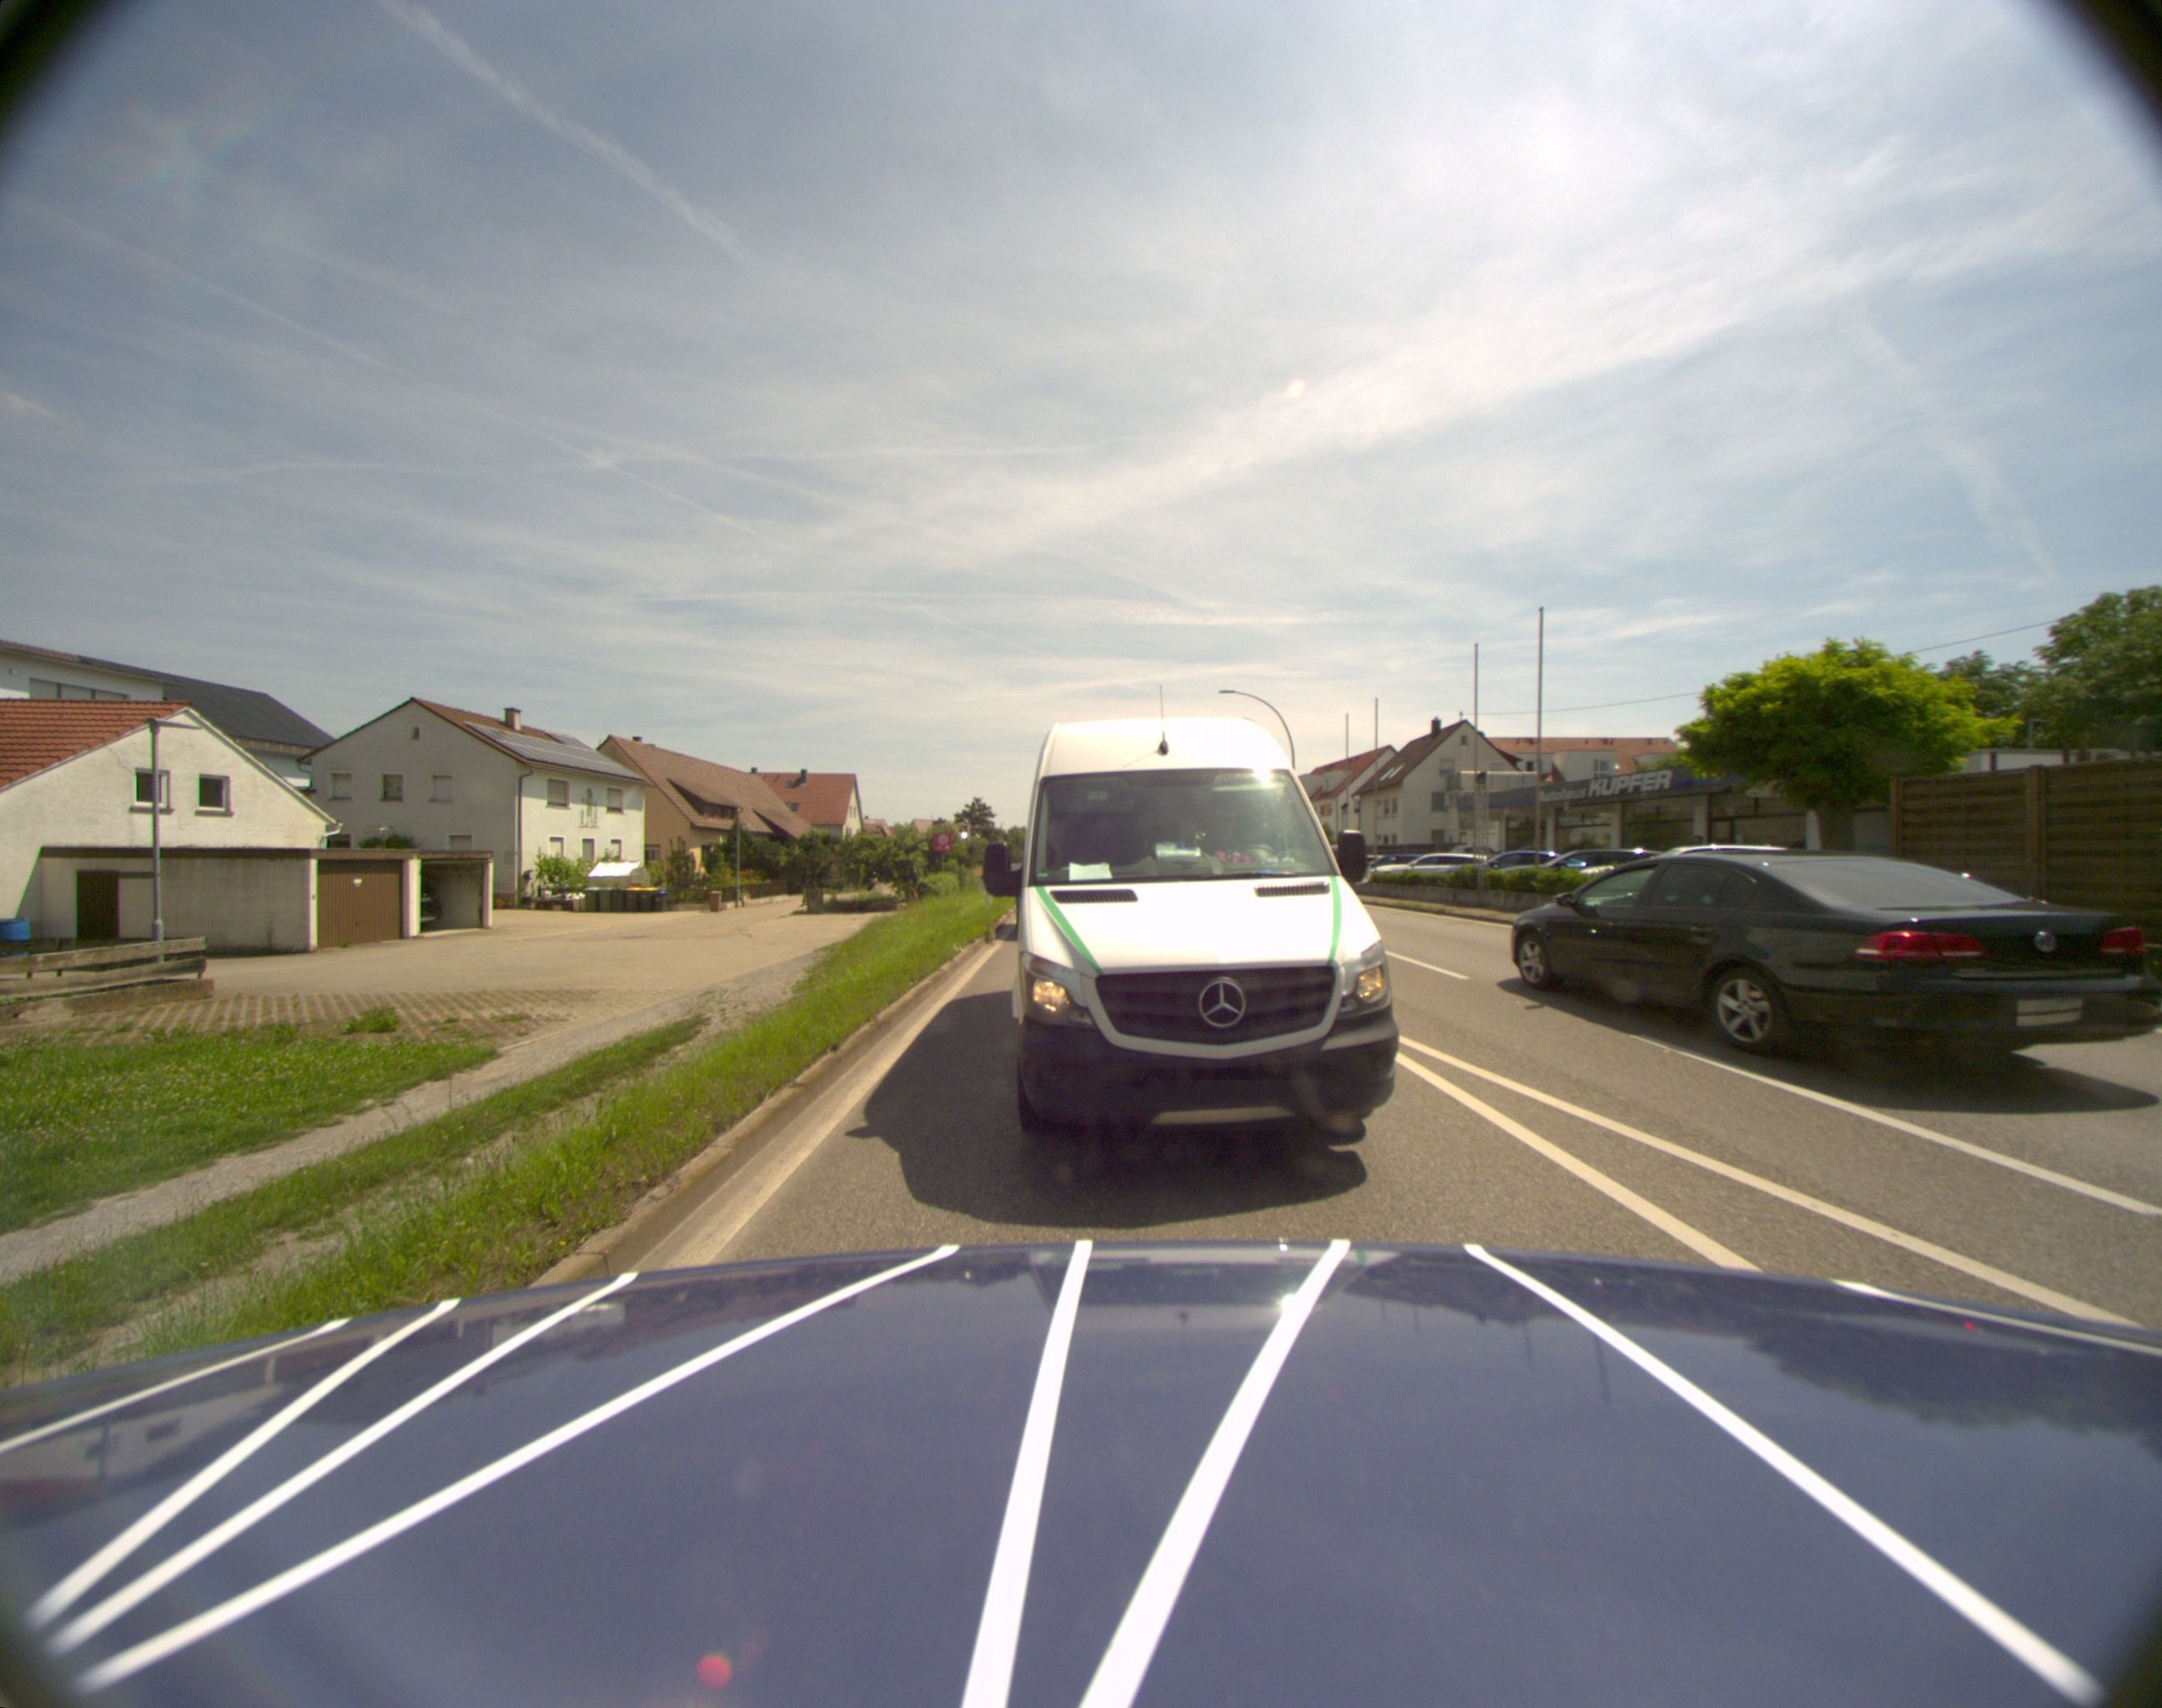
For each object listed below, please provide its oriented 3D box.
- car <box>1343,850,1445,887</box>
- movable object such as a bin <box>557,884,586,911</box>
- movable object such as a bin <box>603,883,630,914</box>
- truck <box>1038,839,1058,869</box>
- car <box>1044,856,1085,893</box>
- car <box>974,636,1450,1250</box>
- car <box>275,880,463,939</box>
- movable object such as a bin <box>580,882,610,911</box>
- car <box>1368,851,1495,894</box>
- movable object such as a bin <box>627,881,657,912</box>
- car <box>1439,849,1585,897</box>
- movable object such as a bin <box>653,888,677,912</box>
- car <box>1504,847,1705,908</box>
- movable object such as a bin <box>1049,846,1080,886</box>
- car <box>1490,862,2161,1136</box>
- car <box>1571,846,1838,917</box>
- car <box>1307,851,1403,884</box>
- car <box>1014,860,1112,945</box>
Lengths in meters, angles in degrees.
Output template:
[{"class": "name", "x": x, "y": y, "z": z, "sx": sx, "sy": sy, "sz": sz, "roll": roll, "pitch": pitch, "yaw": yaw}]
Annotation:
[{"class": "car", "x": 13.826, "y": 0.642, "z": 33.528, "sx": 3.990, "sy": 1.455, "sz": 2.003, "roll": -2, "pitch": 0, "yaw": 26}, {"class": "movable object such as a bin", "x": -23.048, "y": 1.953, "z": 34.386, "sx": 0.740, "sy": 1.149, "sz": 0.830, "roll": -2, "pitch": 0, "yaw": -1}, {"class": "movable object such as a bin", "x": -21.197, "y": 2.011, "z": 34.673, "sx": 0.678, "sy": 1.330, "sz": 0.820, "roll": -2, "pitch": 0, "yaw": -1}, {"class": "truck", "x": -4.321, "y": 0.038, "z": 100.161, "sx": 2.506, "sy": 3.847, "sz": 5.497, "roll": -2, "pitch": 0, "yaw": -1}, {"class": "car", "x": -0.778, "y": 0.926, "z": 36.023, "sx": 1.824, "sy": 1.637, "sz": 3.901, "roll": -1, "pitch": 0, "yaw": -1}, {"class": "car", "x": 0.534, "y": 0.394, "z": 6.093, "sx": 1.978, "sy": 2.583, "sz": 5.633, "roll": -2, "pitch": 0, "yaw": -1}, {"class": "car", "x": -21.542, "y": 1.644, "z": 23.111, "sx": 3.997, "sy": 1.594, "sz": 1.826, "roll": -1, "pitch": 0, "yaw": 0}, {"class": "movable object such as a bin", "x": -22.118, "y": 1.922, "z": 34.616, "sx": 0.745, "sy": 1.239, "sz": 0.889, "roll": -2, "pitch": 0, "yaw": -1}, {"class": "car", "x": 13.492, "y": 0.714, "z": 29.343, "sx": 4.303, "sy": 1.510, "sz": 2.003, "roll": -2, "pitch": 0, "yaw": 27}, {"class": "movable object such as a bin", "x": -19.858, "y": 1.908, "z": 34.375, "sx": 0.765, "sy": 1.362, "sz": 0.946, "roll": -2, "pitch": 0, "yaw": -1}, {"class": "car", "x": 13.986, "y": 0.613, "z": 24.951, "sx": 3.990, "sy": 1.433, "sz": 1.857, "roll": -2, "pitch": 0, "yaw": 25}, {"class": "movable object such as a bin", "x": -18.850, "y": 2.064, "z": 34.469, "sx": 0.645, "sy": 1.021, "sz": 0.756, "roll": -2, "pitch": 0, "yaw": -1}, {"class": "car", "x": 14.230, "y": 0.657, "z": 20.969, "sx": 4.251, "sy": 1.536, "sz": 1.853, "roll": -2, "pitch": 0, "yaw": 23}, {"class": "movable object such as a bin", "x": -1.165, "y": 0.851, "z": 55.404, "sx": 1.998, "sy": 2.710, "sz": 5.419, "roll": -1, "pitch": 0, "yaw": 1}, {"class": "car", "x": 5.600, "y": 0.813, "z": 6.425, "sx": 1.819, "sy": 1.409, "sz": 4.615, "roll": -2, "pitch": 0, "yaw": 1}, {"class": "car", "x": 13.882, "y": 0.613, "z": 17.284, "sx": 4.329, "sy": 1.451, "sz": 1.858, "roll": -1, "pitch": 0, "yaw": 24}, {"class": "car", "x": 13.575, "y": 0.671, "z": 37.604, "sx": 4.255, "sy": 1.521, "sz": 2.003, "roll": -2, "pitch": 0, "yaw": 26}, {"class": "car", "x": -0.365, "y": 0.925, "z": 16.212, "sx": 1.824, "sy": 1.574, "sz": 3.901, "roll": -1, "pitch": 0, "yaw": -1}]
